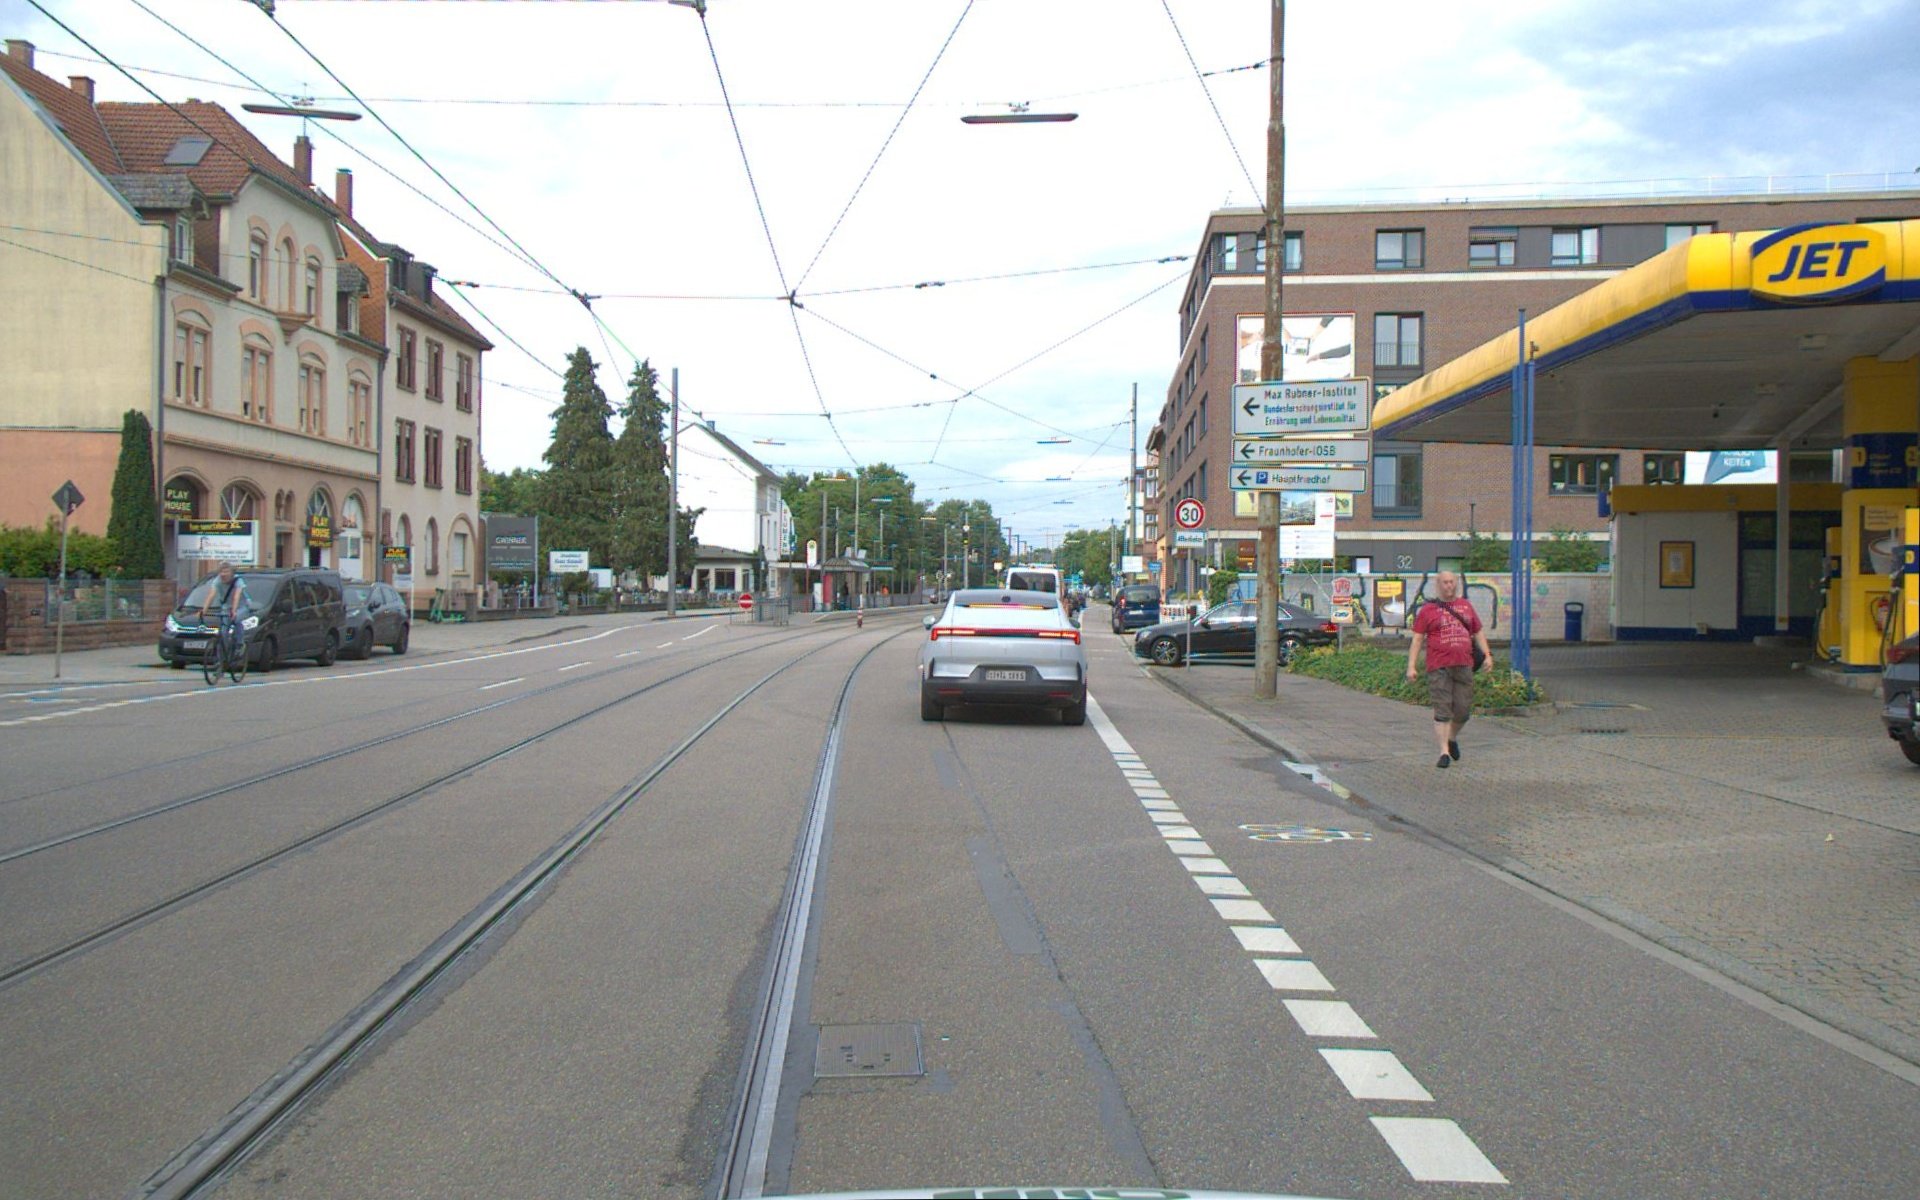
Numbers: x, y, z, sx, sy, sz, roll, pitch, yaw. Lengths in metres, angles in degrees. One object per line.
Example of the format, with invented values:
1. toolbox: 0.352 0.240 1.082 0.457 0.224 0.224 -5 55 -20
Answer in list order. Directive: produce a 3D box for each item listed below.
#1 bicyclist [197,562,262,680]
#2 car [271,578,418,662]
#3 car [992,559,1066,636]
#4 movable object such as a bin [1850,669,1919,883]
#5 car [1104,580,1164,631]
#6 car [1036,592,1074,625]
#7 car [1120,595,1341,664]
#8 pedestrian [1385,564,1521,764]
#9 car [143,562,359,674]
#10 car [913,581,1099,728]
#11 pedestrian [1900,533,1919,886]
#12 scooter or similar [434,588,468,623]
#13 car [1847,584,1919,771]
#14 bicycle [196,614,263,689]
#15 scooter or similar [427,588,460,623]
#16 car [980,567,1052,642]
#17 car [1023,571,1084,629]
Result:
1. bicyclist: -11.241 0.312 25.487 0.723 1.780 0.975 -1 0 -13
2. car: -13.961 0.447 37.760 1.807 1.748 4.192 2 0 -1
3. car: 2.304 -0.070 56.277 2.171 2.465 4.950 2 0 -1
4. movable object such as a bin: 5.434 0.928 8.974 0.751 1.057 1.025 -2 0 11
5. car: 6.749 0.230 64.450 1.836 1.855 4.096 2 0 0
6. car: 6.183 0.573 107.685 1.954 2.049 3.997 2 0 -3
7. car: 6.167 0.636 37.543 4.767 1.452 1.954 0 0 15
8. pedestrian: 4.564 0.579 15.363 0.952 1.769 0.861 -2 -1 0
9. car: -13.454 0.338 31.768 1.951 1.920 4.997 2 0 0
10. car: 0.458 0.594 20.515 1.942 1.577 4.181 2 0 -3
11. pedestrian: 5.230 0.559 8.040 0.751 1.828 1.163 -2 0 11
12. scooter or similar: -17.846 0.199 57.983 1.040 1.209 0.314 2 -1 -36
13. car: 9.997 0.601 14.186 4.252 1.523 1.983 -2 1 -23
14. bicycle: -11.236 0.770 25.491 0.576 1.092 1.950 -1 0 -13
15. scooter or similar: -18.232 0.191 58.433 1.040 1.209 0.314 2 -1 -36
16. car: 1.597 0.140 48.477 1.953 2.049 4.000 2 0 0
17. car: 3.693 0.014 65.816 2.095 2.183 4.743 2 0 0
